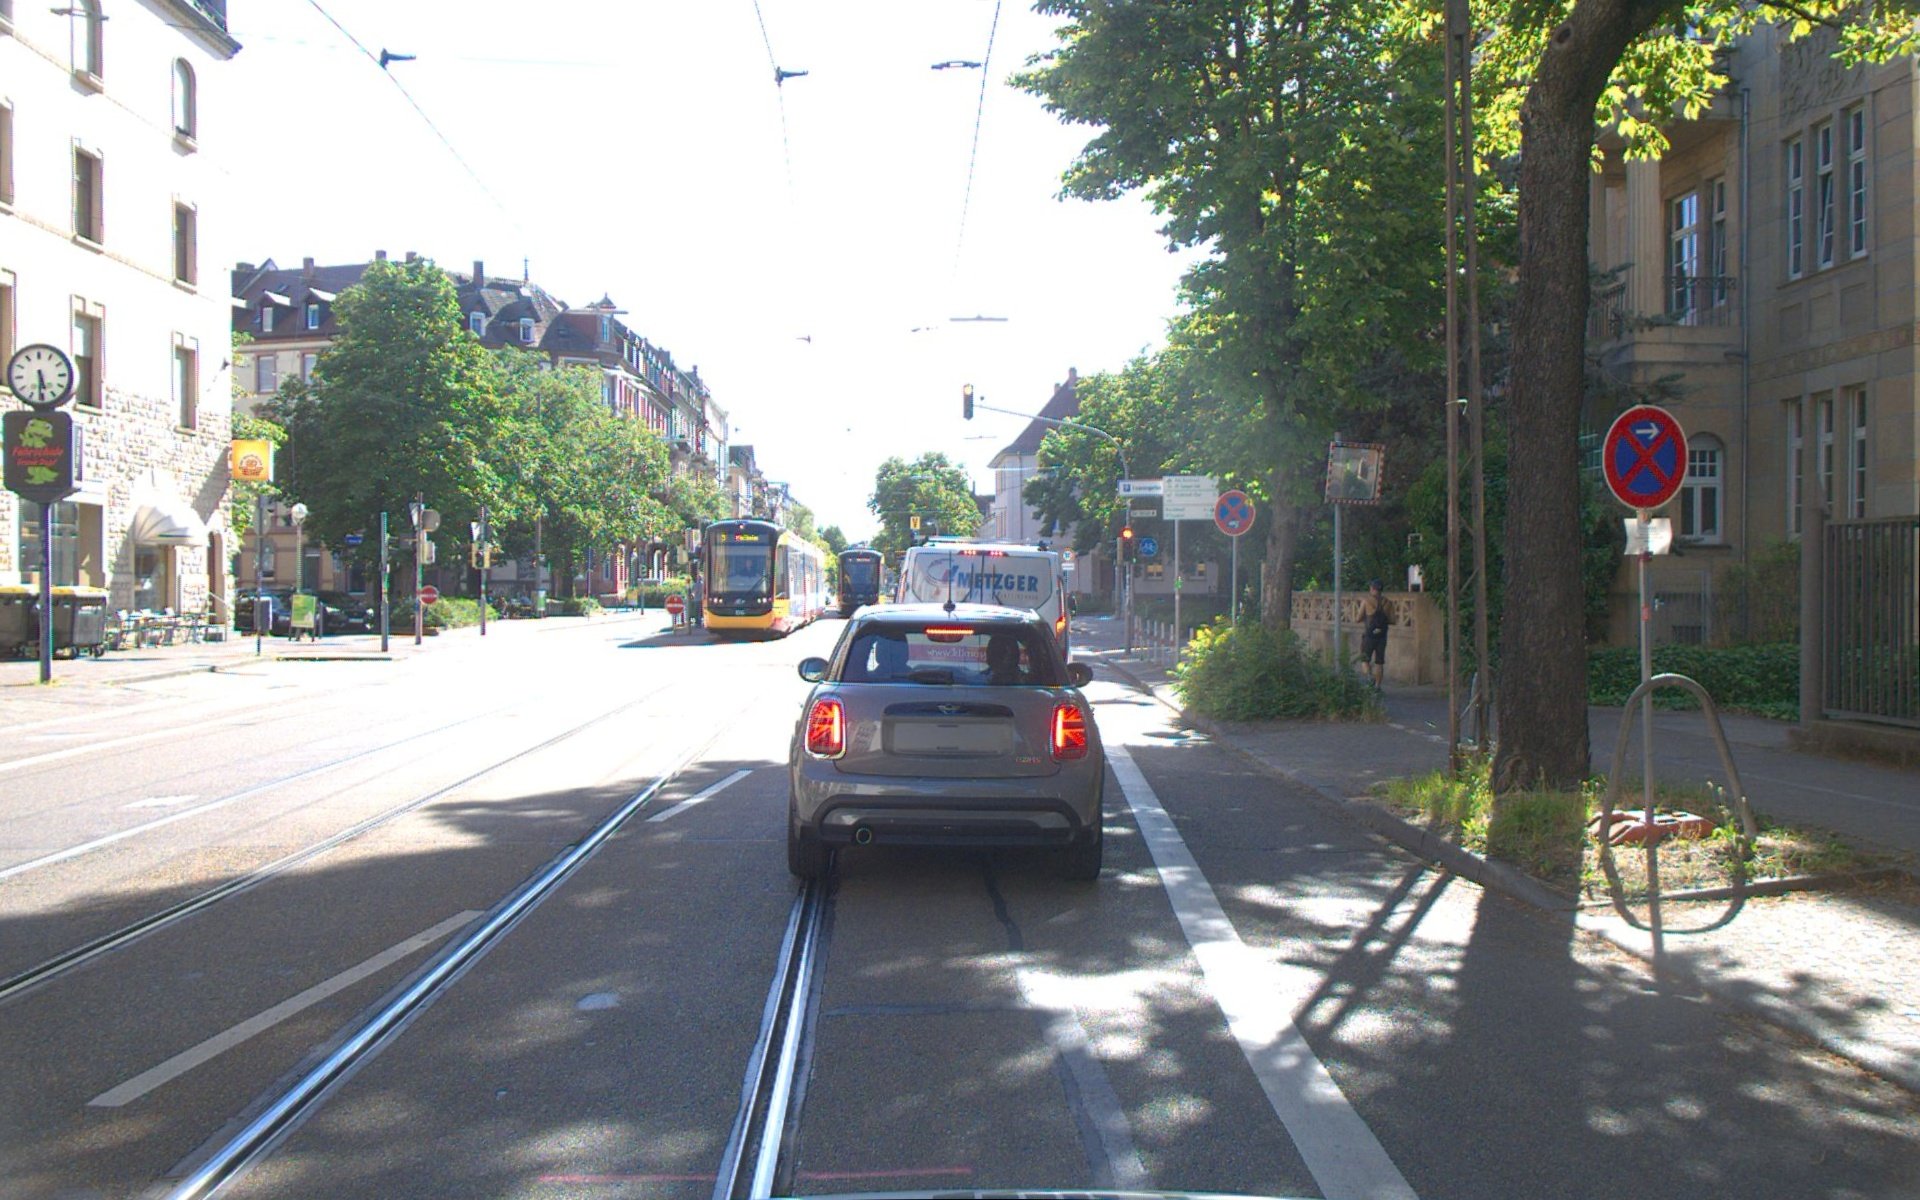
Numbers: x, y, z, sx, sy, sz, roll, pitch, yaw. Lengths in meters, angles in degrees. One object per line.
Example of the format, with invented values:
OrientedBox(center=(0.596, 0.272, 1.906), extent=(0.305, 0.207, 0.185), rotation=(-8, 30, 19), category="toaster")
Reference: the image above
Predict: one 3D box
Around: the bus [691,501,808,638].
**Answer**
OrientedBox(center=(-6.518, -0.851, 52.799), extent=(2.803, 3.843, 11.490), rotation=(1, 0, -3), category="bus")

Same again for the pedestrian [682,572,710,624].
OrientedBox(center=(-9.425, -0.056, 59.092), extent=(0.864, 1.833, 0.902), rotation=(1, -1, -2), category="pedestrian")

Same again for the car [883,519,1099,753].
OrientedBox(center=(0.269, 0.364, 18.649), extent=(2.075, 2.247, 4.943), rotation=(1, 0, -1), category="car")

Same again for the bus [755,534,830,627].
OrientedBox(center=(-7.548, -0.794, 75.791), extent=(2.793, 3.843, 12.189), rotation=(1, 0, -3), category="bus")

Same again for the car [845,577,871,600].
OrientedBox(center=(-7.440, -0.812, 120.619), extent=(1.827, 1.591, 3.996), rotation=(1, 0, -4), category="car")

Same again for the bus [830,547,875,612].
OrientedBox(center=(-6.213, -1.131, 94.992), extent=(2.339, 3.557, 7.376), rotation=(1, 0, -5), category="bus")

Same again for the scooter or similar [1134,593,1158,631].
OrientedBox(center=(6.608, 0.423, 58.913), extent=(0.662, 1.333, 1.328), rotation=(1, 0, -2), category="scooter or similar")

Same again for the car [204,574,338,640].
OrientedBox(center=(-22.572, 0.215, 54.190), extent=(3.910, 2.049, 1.997), rotation=(1, 0, 28), category="car")

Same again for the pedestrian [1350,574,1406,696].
OrientedBox(center=(5.969, 0.498, 23.639), extent=(0.580, 1.700, 0.646), rotation=(-2, 0, -1), category="pedestrian")

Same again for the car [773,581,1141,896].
OrientedBox(center=(-0.039, 0.689, 10.093), extent=(1.778, 1.514, 3.999), rotation=(1, 0, -1), category="car")

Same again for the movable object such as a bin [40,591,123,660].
OrientedBox(center=(-17.018, 0.493, 32.062), extent=(0.925, 1.296, 1.144), rotation=(1, 0, 3), category="movable object such as a bin")

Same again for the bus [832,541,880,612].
OrientedBox(center=(-5.556, -1.157, 87.572), extent=(2.339, 3.557, 7.376), rotation=(1, 0, -5), category="bus")

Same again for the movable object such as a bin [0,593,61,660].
OrientedBox(center=(-17.918, 0.492, 31.562), extent=(0.815, 1.244, 1.244), rotation=(1, 0, 1), category="movable object such as a bin")

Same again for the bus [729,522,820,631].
OrientedBox(center=(-7.033, -0.813, 64.158), extent=(2.803, 3.843, 11.176), rotation=(1, 0, -3), category="bus")

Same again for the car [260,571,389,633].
OrientedBox(center=(-21.624, 0.064, 56.282), extent=(3.910, 2.049, 1.997), rotation=(1, 0, 28), category="car")
